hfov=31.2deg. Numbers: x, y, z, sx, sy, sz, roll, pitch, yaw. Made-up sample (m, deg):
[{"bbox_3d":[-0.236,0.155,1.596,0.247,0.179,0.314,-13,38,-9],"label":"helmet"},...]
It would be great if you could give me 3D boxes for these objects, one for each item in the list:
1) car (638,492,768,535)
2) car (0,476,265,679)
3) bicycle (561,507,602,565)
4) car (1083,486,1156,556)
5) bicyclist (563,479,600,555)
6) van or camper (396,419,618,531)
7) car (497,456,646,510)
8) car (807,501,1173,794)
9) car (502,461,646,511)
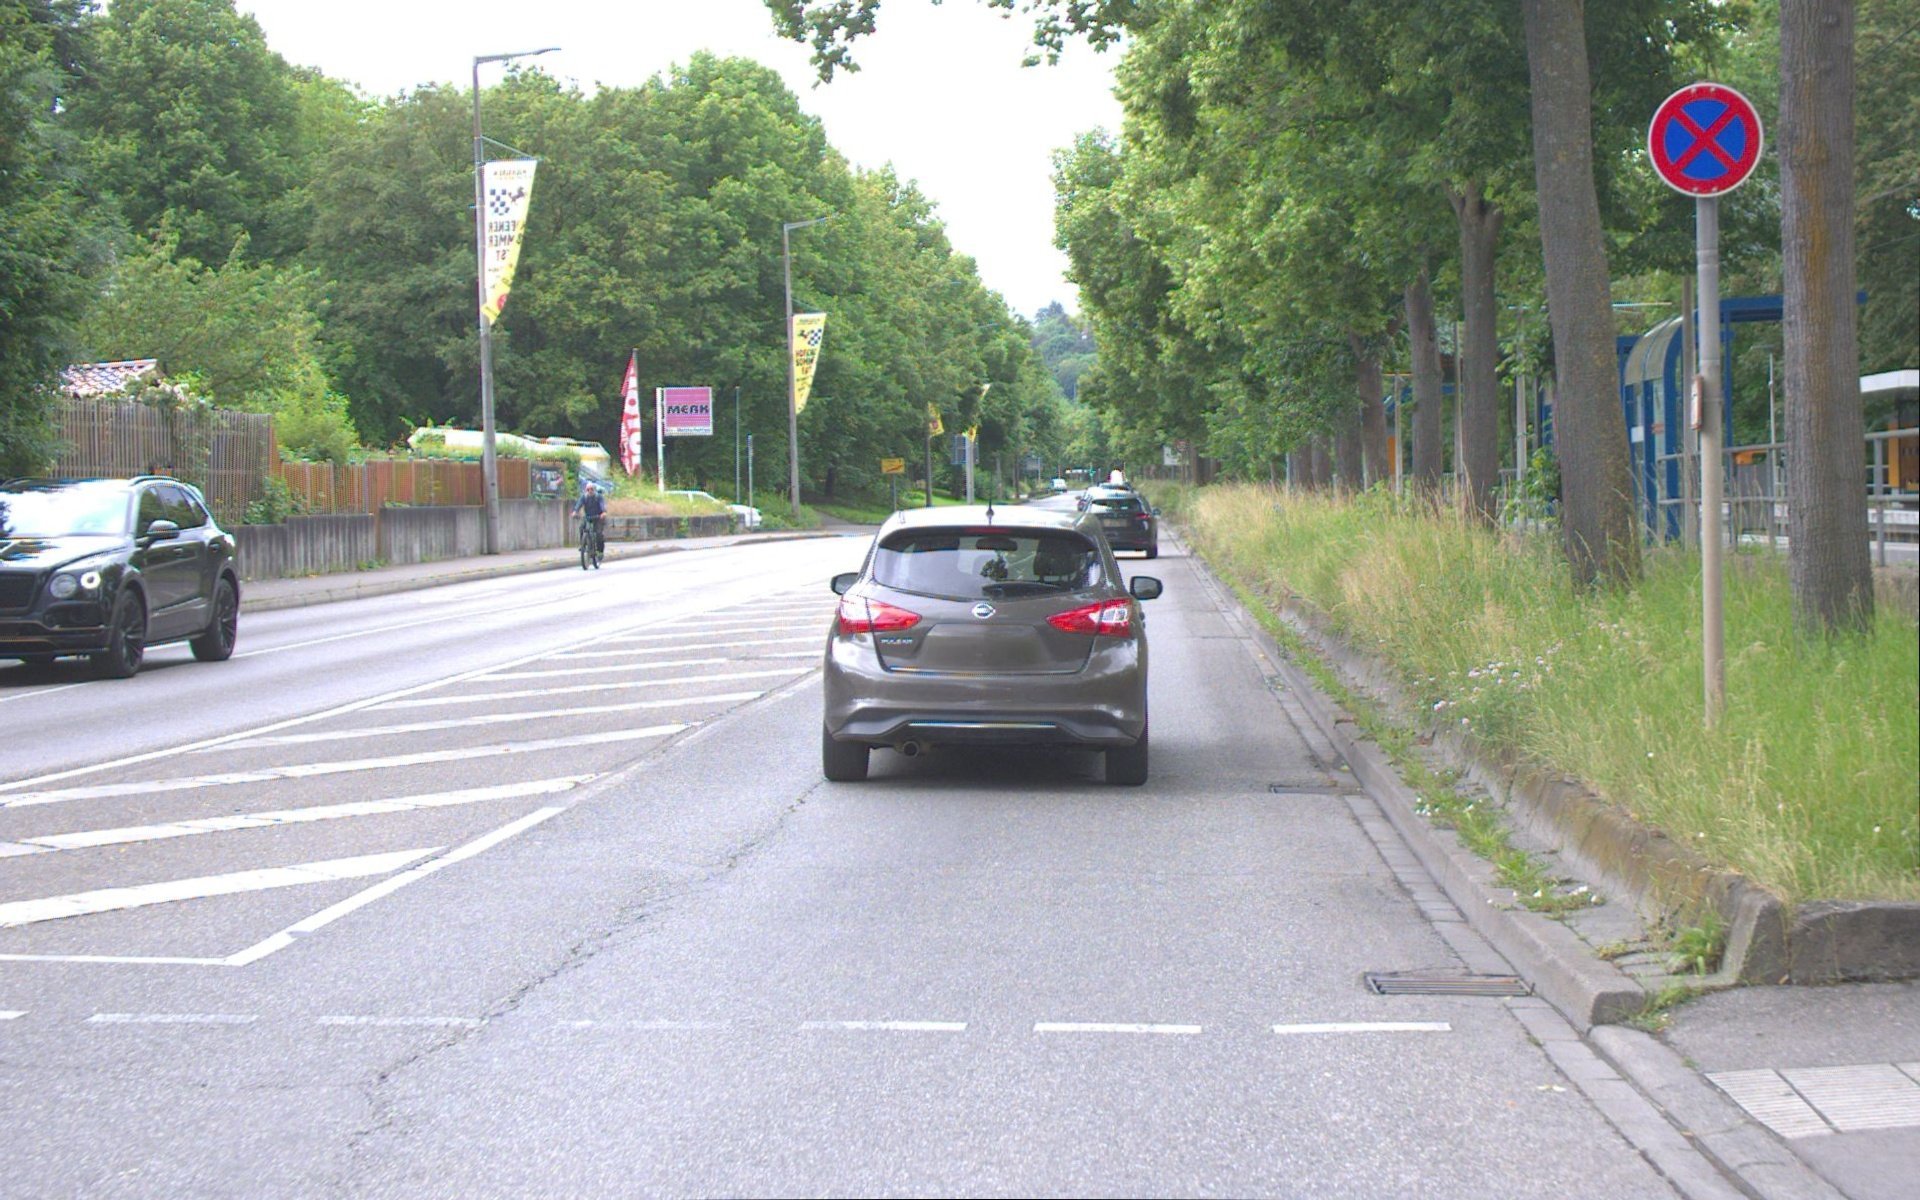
[{"bbox_3d":[-9.015,-3.062,120.816,4.375,1.436,1.961,1,2,1],"label":"car"},{"bbox_3d":[-7.855,-0.246,30.999,1.902,1.673,5.080,-1,1,3],"label":"car"},{"bbox_3d":[-7.699,-1.312,69.978,0.642,1.141,2.148,1,2,-1],"label":"bicycle"},{"bbox_3d":[3.603,-1.774,77.168,1.503,1.523,3.671,0,2,5],"label":"car"},{"bbox_3d":[-7.692,-1.693,69.854,0.642,1.529,0.979,1,2,-1],"label":"bicyclist"},{"bbox_3d":[-15.917,-4.393,120.991,7.142,3.359,2.796,5,2,3],"label":"van or camper"},{"bbox_3d":[-11.375,-3.415,100.719,3.988,1.492,1.859,1,1,8],"label":"car"},{"bbox_3d":[0.274,0.194,19.919,1.837,1.523,3.928,0,2,5],"label":"car"},{"bbox_3d":[-11.507,-3.404,102.601,3.988,1.406,1.533,1,1,8],"label":"car"}]
